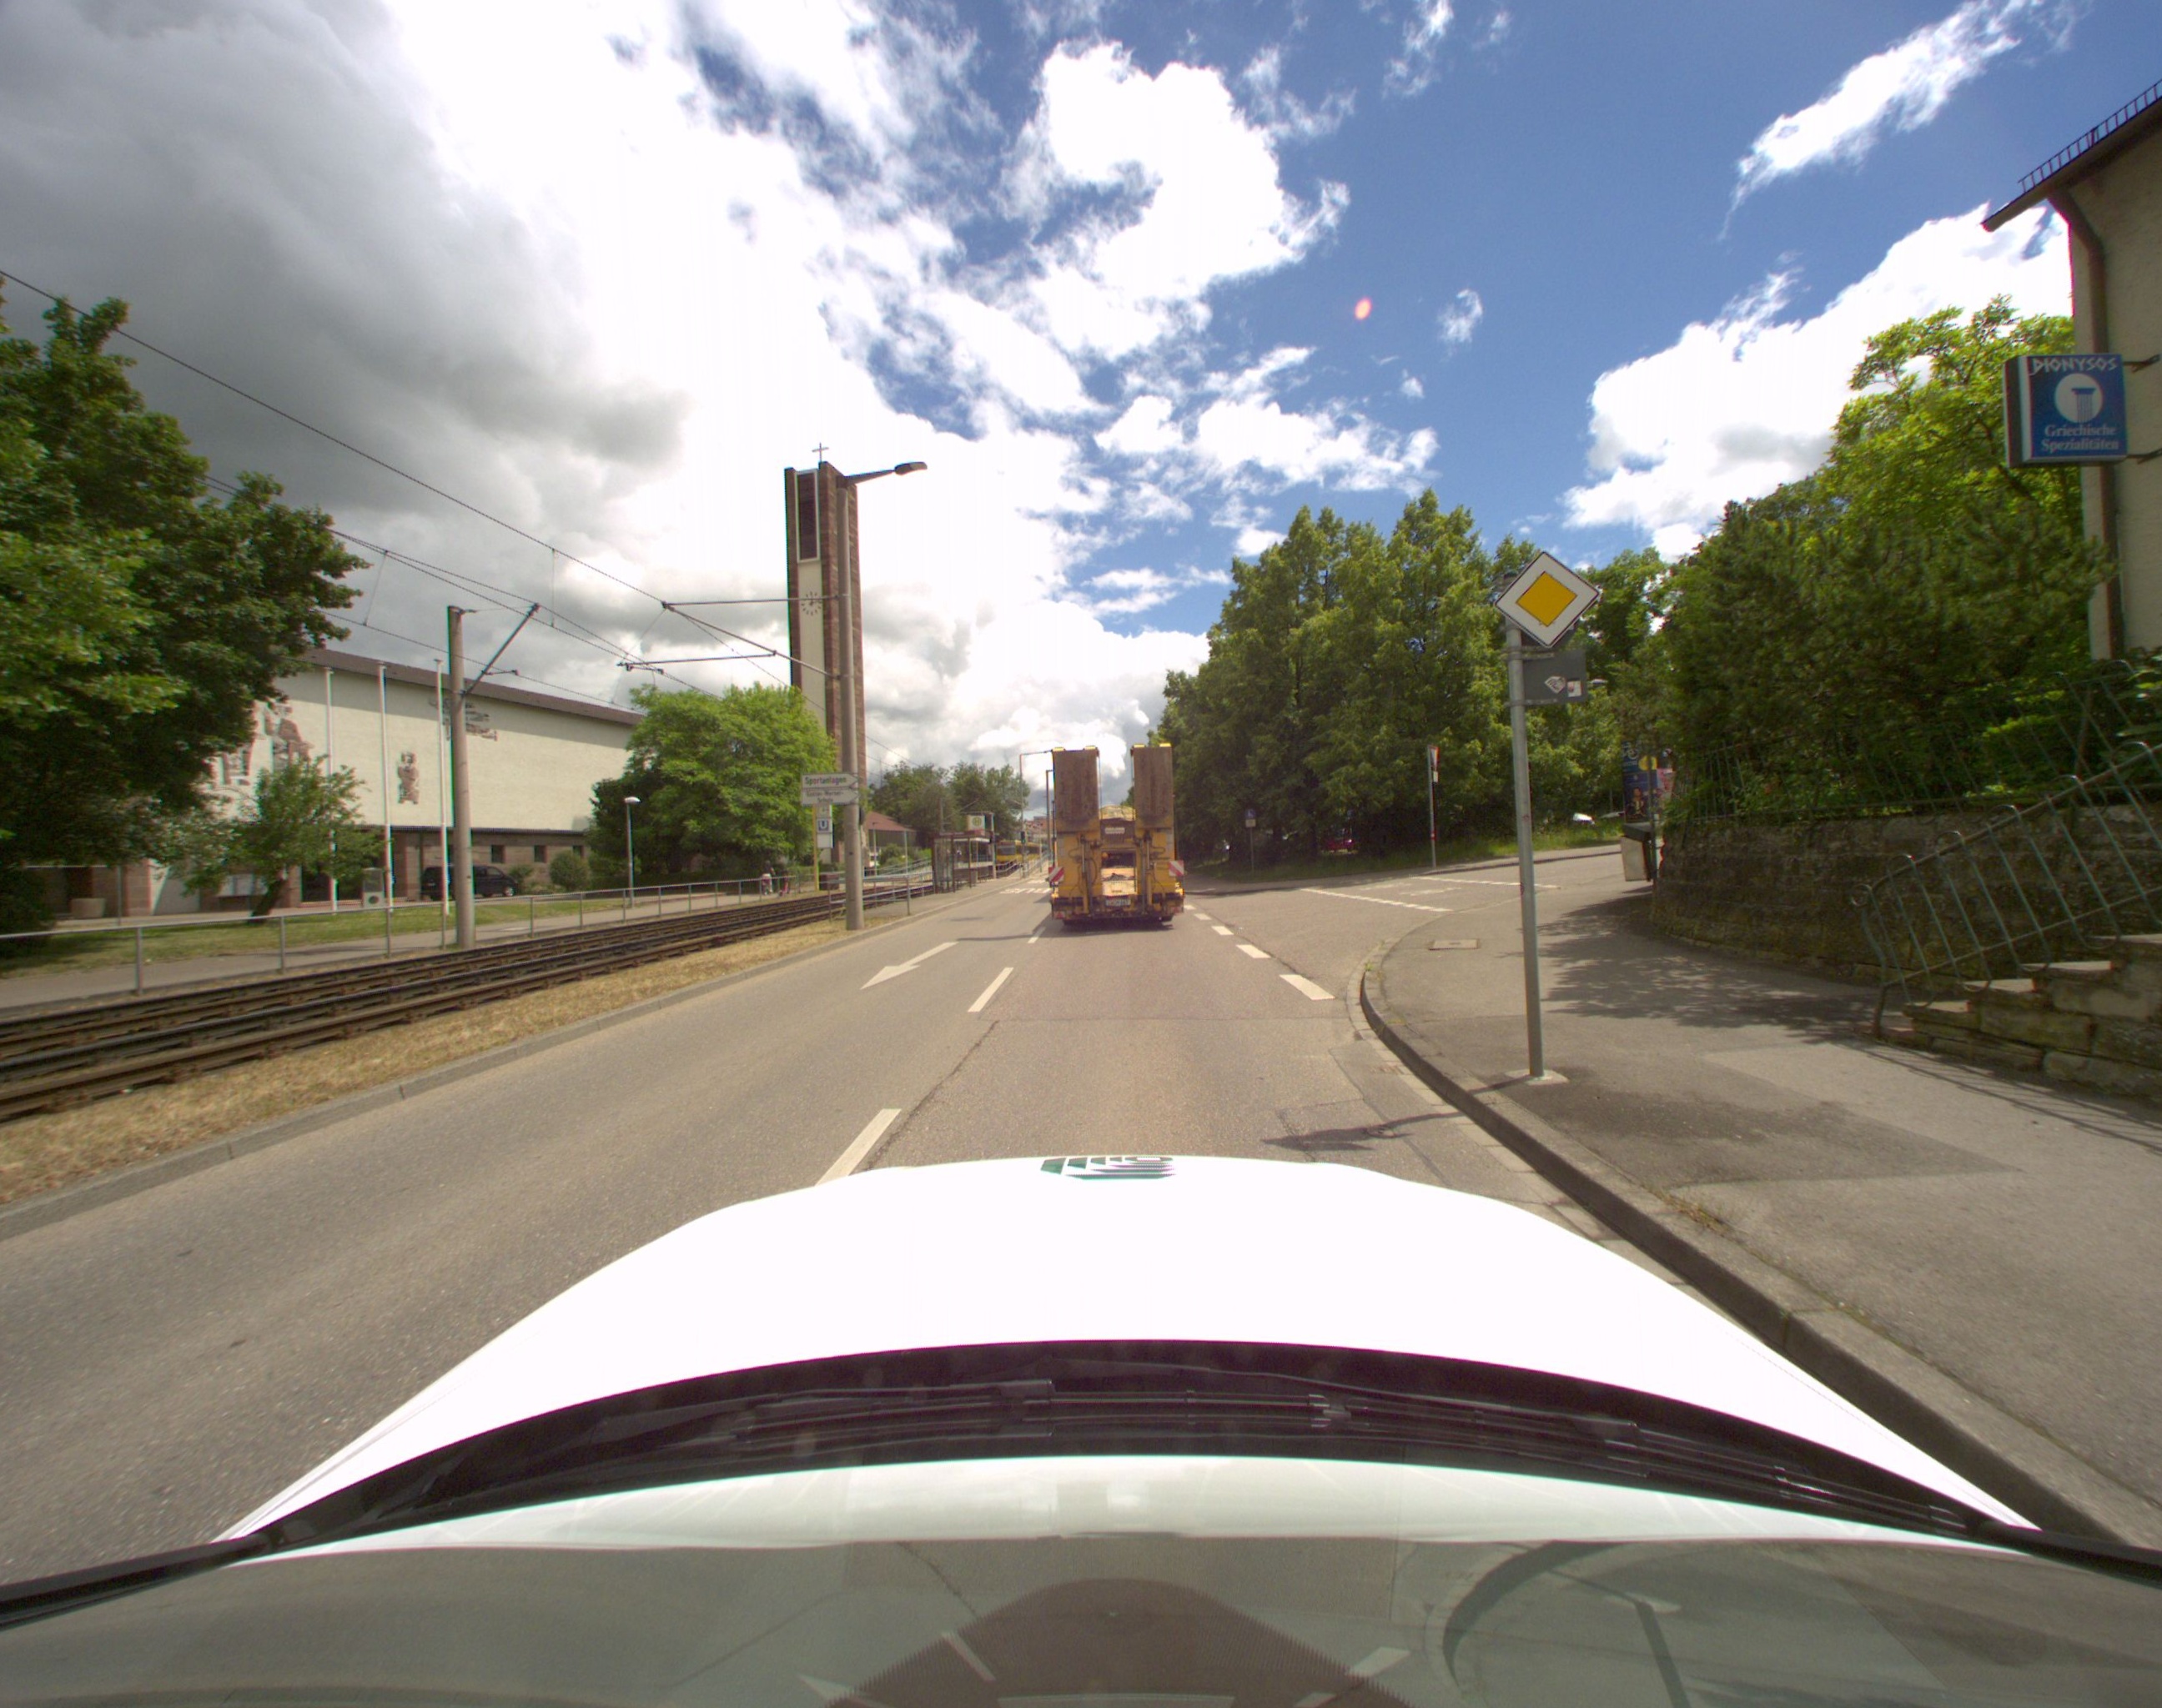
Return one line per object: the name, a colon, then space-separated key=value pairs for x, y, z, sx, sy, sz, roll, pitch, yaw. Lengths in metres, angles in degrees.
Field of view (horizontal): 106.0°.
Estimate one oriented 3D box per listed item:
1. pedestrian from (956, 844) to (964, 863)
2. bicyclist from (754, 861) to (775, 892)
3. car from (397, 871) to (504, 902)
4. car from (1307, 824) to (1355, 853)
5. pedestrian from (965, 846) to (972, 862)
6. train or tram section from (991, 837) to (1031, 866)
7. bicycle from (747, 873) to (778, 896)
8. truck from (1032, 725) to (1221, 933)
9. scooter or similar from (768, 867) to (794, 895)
pedestrian: x=-12.663 y=-0.031 z=84.996 sx=0.710 sy=2.014 sz=0.731 roll=0 pitch=0 yaw=-1
bicyclist: x=-14.948 y=1.067 z=38.471 sx=0.631 sy=1.429 sz=0.790 roll=0 pitch=0 yaw=1
car: x=-36.270 y=1.818 z=46.994 sx=1.977 sy=1.574 sz=4.499 roll=0 pitch=0 yaw=19
car: x=14.412 y=-0.875 z=47.089 sx=1.655 sy=1.500 sz=3.664 roll=-5 pitch=0 yaw=1
pedestrian: x=-11.947 y=-0.042 z=86.488 sx=0.637 sy=1.707 sz=0.646 roll=0 pitch=0 yaw=2
train or tram section: x=-8.973 y=-0.331 z=106.942 sx=3.096 sy=3.465 sz=18.831 roll=0 pitch=0 yaw=1
bicycle: x=-14.936 y=1.410 z=38.215 sx=0.635 sy=0.993 sz=1.929 roll=0 pitch=0 yaw=1
truck: x=0.754 y=-0.463 z=21.936 sx=3.392 sy=3.732 sz=13.732 roll=-2 pitch=0 yaw=-1
scooter or similar: x=-13.945 y=1.262 z=37.904 sx=0.647 sy=1.237 sz=1.402 roll=-1 pitch=1 yaw=2
